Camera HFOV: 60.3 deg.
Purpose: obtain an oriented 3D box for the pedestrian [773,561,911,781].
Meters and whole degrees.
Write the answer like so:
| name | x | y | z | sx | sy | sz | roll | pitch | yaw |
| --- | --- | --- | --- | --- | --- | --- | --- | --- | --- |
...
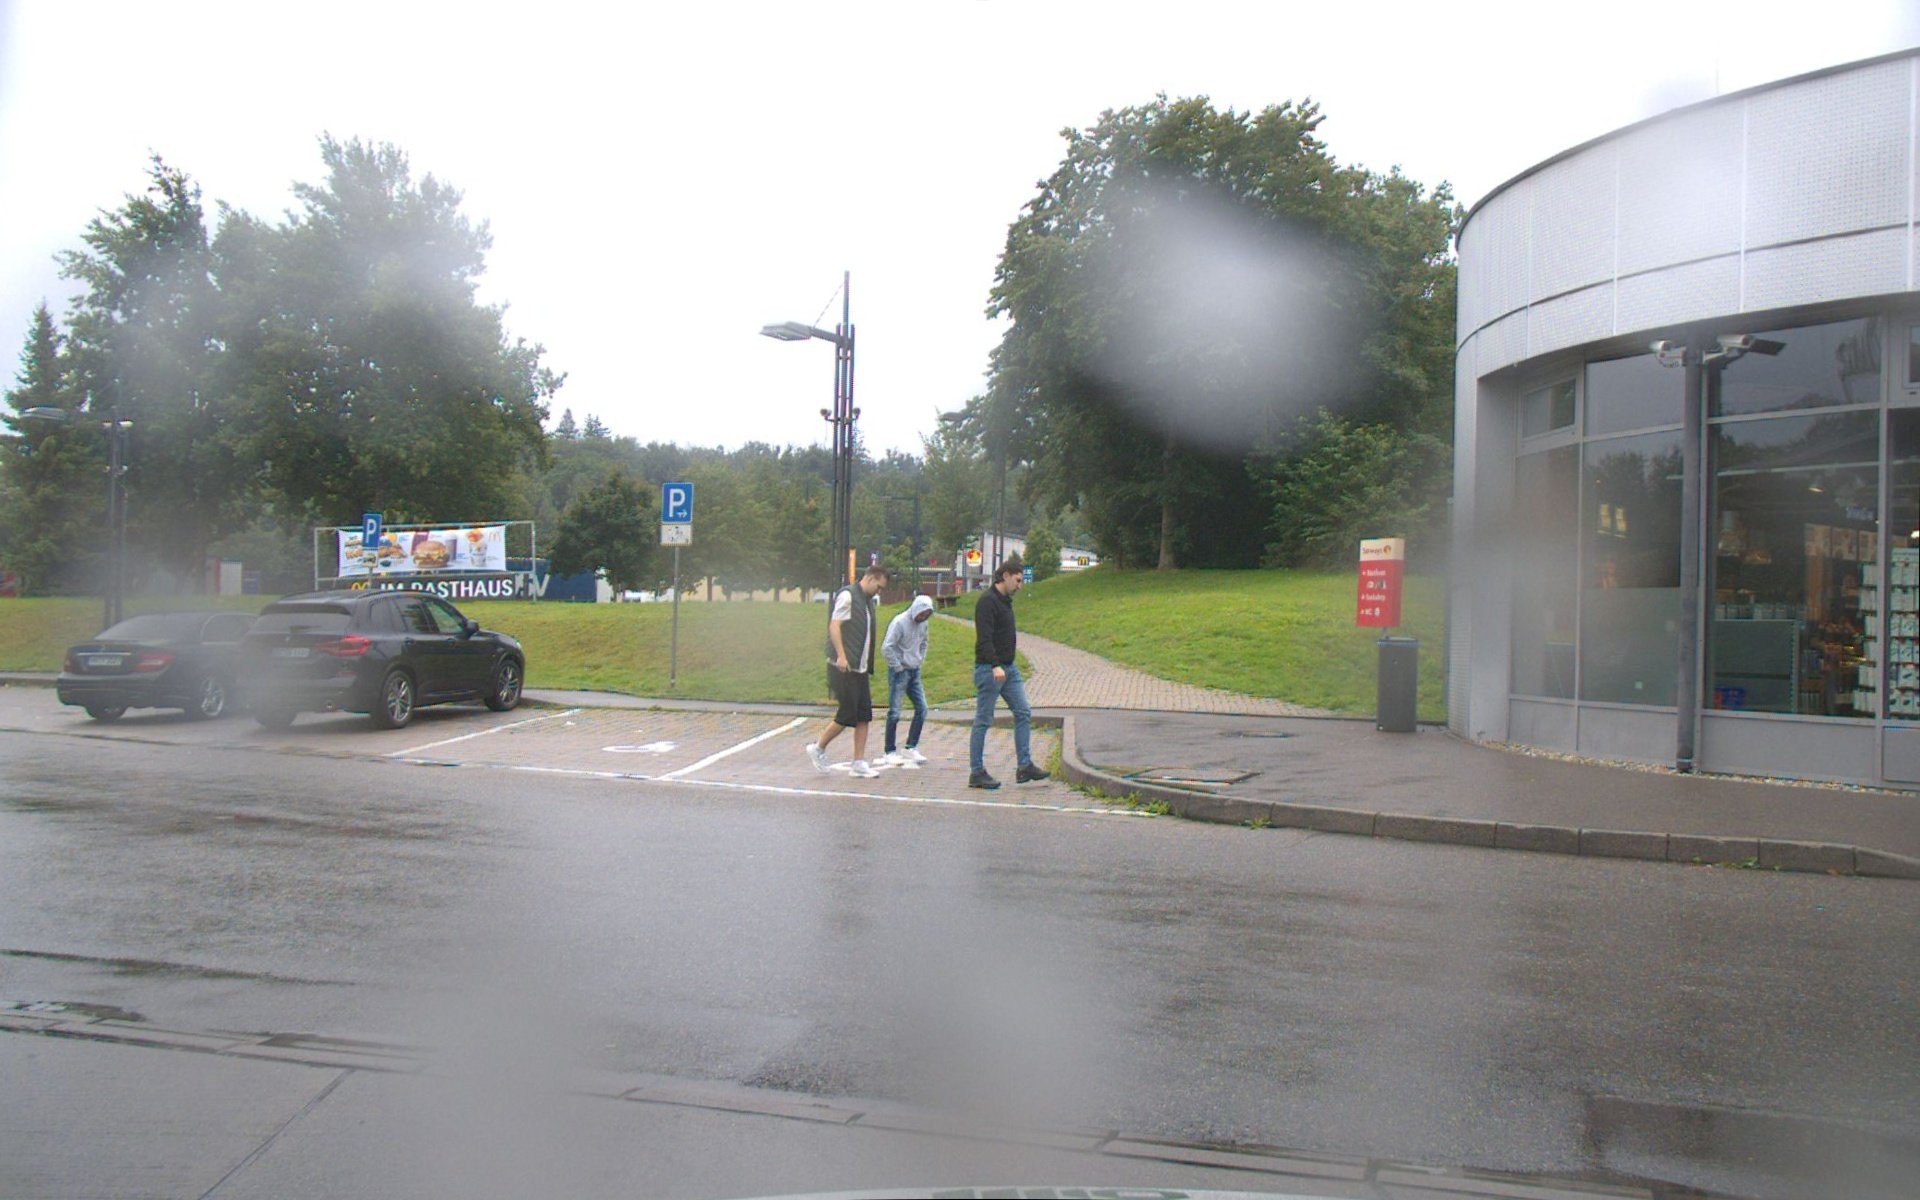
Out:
| name | x | y | z | sx | sy | sz | roll | pitch | yaw |
| --- | --- | --- | --- | --- | --- | --- | --- | --- | --- |
| pedestrian | -1.045 | 0.605 | 14.679 | 0.954 | 1.880 | 0.772 | 0 | 0 | 28 |

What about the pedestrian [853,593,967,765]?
| name | x | y | z | sx | sy | sz | roll | pitch | yaw |
| --- | --- | --- | --- | --- | --- | --- | --- | --- | --- |
| pedestrian | -0.472 | 0.727 | 15.739 | 0.872 | 1.577 | 0.659 | 0 | 0 | 29 |

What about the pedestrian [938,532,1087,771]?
| name | x | y | z | sx | sy | sz | roll | pitch | yaw |
| --- | --- | --- | --- | --- | --- | --- | --- | --- | --- |
| pedestrian | 0.440 | 0.405 | 13.729 | 0.979 | 1.897 | 0.798 | 0 | 0 | 28 |

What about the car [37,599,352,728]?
| name | x | y | z | sx | sy | sz | roll | pitch | yaw |
| --- | --- | --- | --- | --- | --- | --- | --- | --- | --- |
| car | -10.353 | 0.787 | 22.758 | 1.844 | 1.592 | 4.189 | 0 | 0 | 11 |

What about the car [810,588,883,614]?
| name | x | y | z | sx | sy | sz | roll | pitch | yaw |
| --- | --- | --- | --- | --- | --- | --- | --- | --- | --- |
| car | -9.158 | 0.068 | 133.628 | 5.310 | 2.049 | 2.456 | 1 | 0 | 19 |

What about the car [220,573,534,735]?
| name | x | y | z | sx | sy | sz | roll | pitch | yaw |
| --- | --- | --- | --- | --- | --- | --- | --- | --- | --- |
| car | -7.328 | 0.614 | 21.319 | 1.844 | 1.860 | 4.417 | 0 | 0 | 11 |
